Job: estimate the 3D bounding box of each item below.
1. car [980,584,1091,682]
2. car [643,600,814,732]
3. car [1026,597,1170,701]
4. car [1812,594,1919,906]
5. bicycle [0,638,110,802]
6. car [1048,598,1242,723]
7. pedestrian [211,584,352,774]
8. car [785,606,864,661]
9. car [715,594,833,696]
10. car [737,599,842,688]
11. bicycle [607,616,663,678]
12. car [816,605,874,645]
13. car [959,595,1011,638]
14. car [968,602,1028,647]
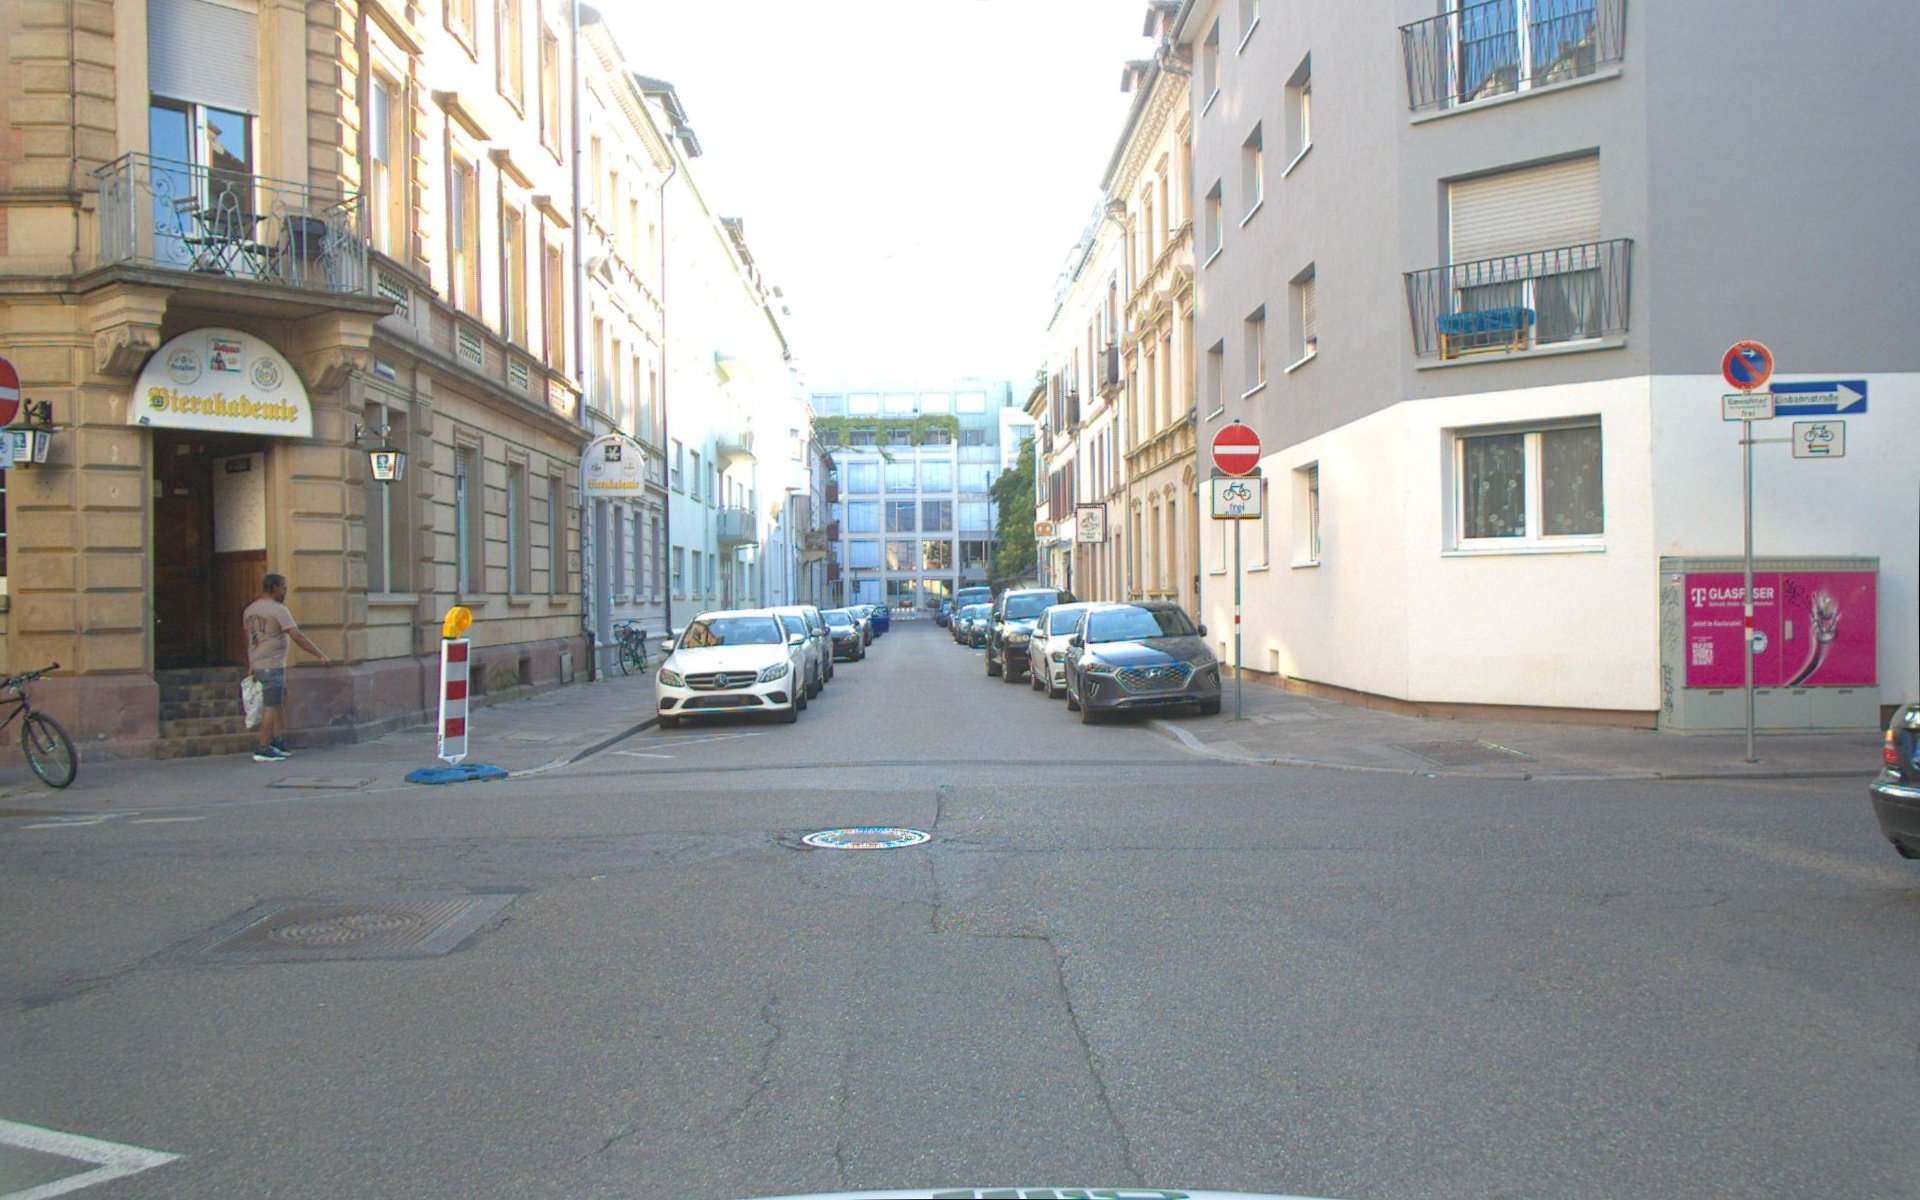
[{"bbox_3d":[1.450,0.609,33.172,1.856,1.815,3.998,-1,0,-3],"label":"car"},{"bbox_3d":[-3.077,0.816,22.863,1.954,1.591,4.503,-1,0,-3],"label":"car"},{"bbox_3d":[2.235,0.758,27.779,1.924,1.584,3.887,-1,0,-2],"label":"car"},{"bbox_3d":[6.740,0.661,7.639,4.616,1.433,1.890,-1,0,1],"label":"car"},{"bbox_3d":[-8.207,1.005,13.895,1.723,1.297,0.660,-1,3,-6],"label":"bicycle"},{"bbox_3d":[2.320,0.723,21.708,1.899,1.396,3.786,-3,0,-3],"label":"car"},{"bbox_3d":[-6.652,0.739,16.213,1.009,1.772,0.969,0,0,-44],"label":"pedestrian"},{"bbox_3d":[-3.672,0.885,45.567,1.953,1.378,4.427,-1,0,-2],"label":"car"},{"bbox_3d":[-3.111,0.715,28.265,1.591,1.604,3.754,-1,0,0],"label":"car"},{"bbox_3d":[-3.450,0.840,33.994,1.749,1.688,3.816,-1,0,0],"label":"car"},{"bbox_3d":[-6.629,0.938,33.882,0.722,1.181,2.460,0,0,-2],"label":"bicycle"},{"bbox_3d":[-4.394,0.925,63.259,2.130,1.443,3.997,-1,0,-4],"label":"car"},{"bbox_3d":[1.028,0.678,68.986,1.953,1.730,3.998,-1,0,-2],"label":"car"},{"bbox_3d":[1.309,0.839,58.305,1.953,1.476,3.999,-1,0,-1],"label":"car"}]
